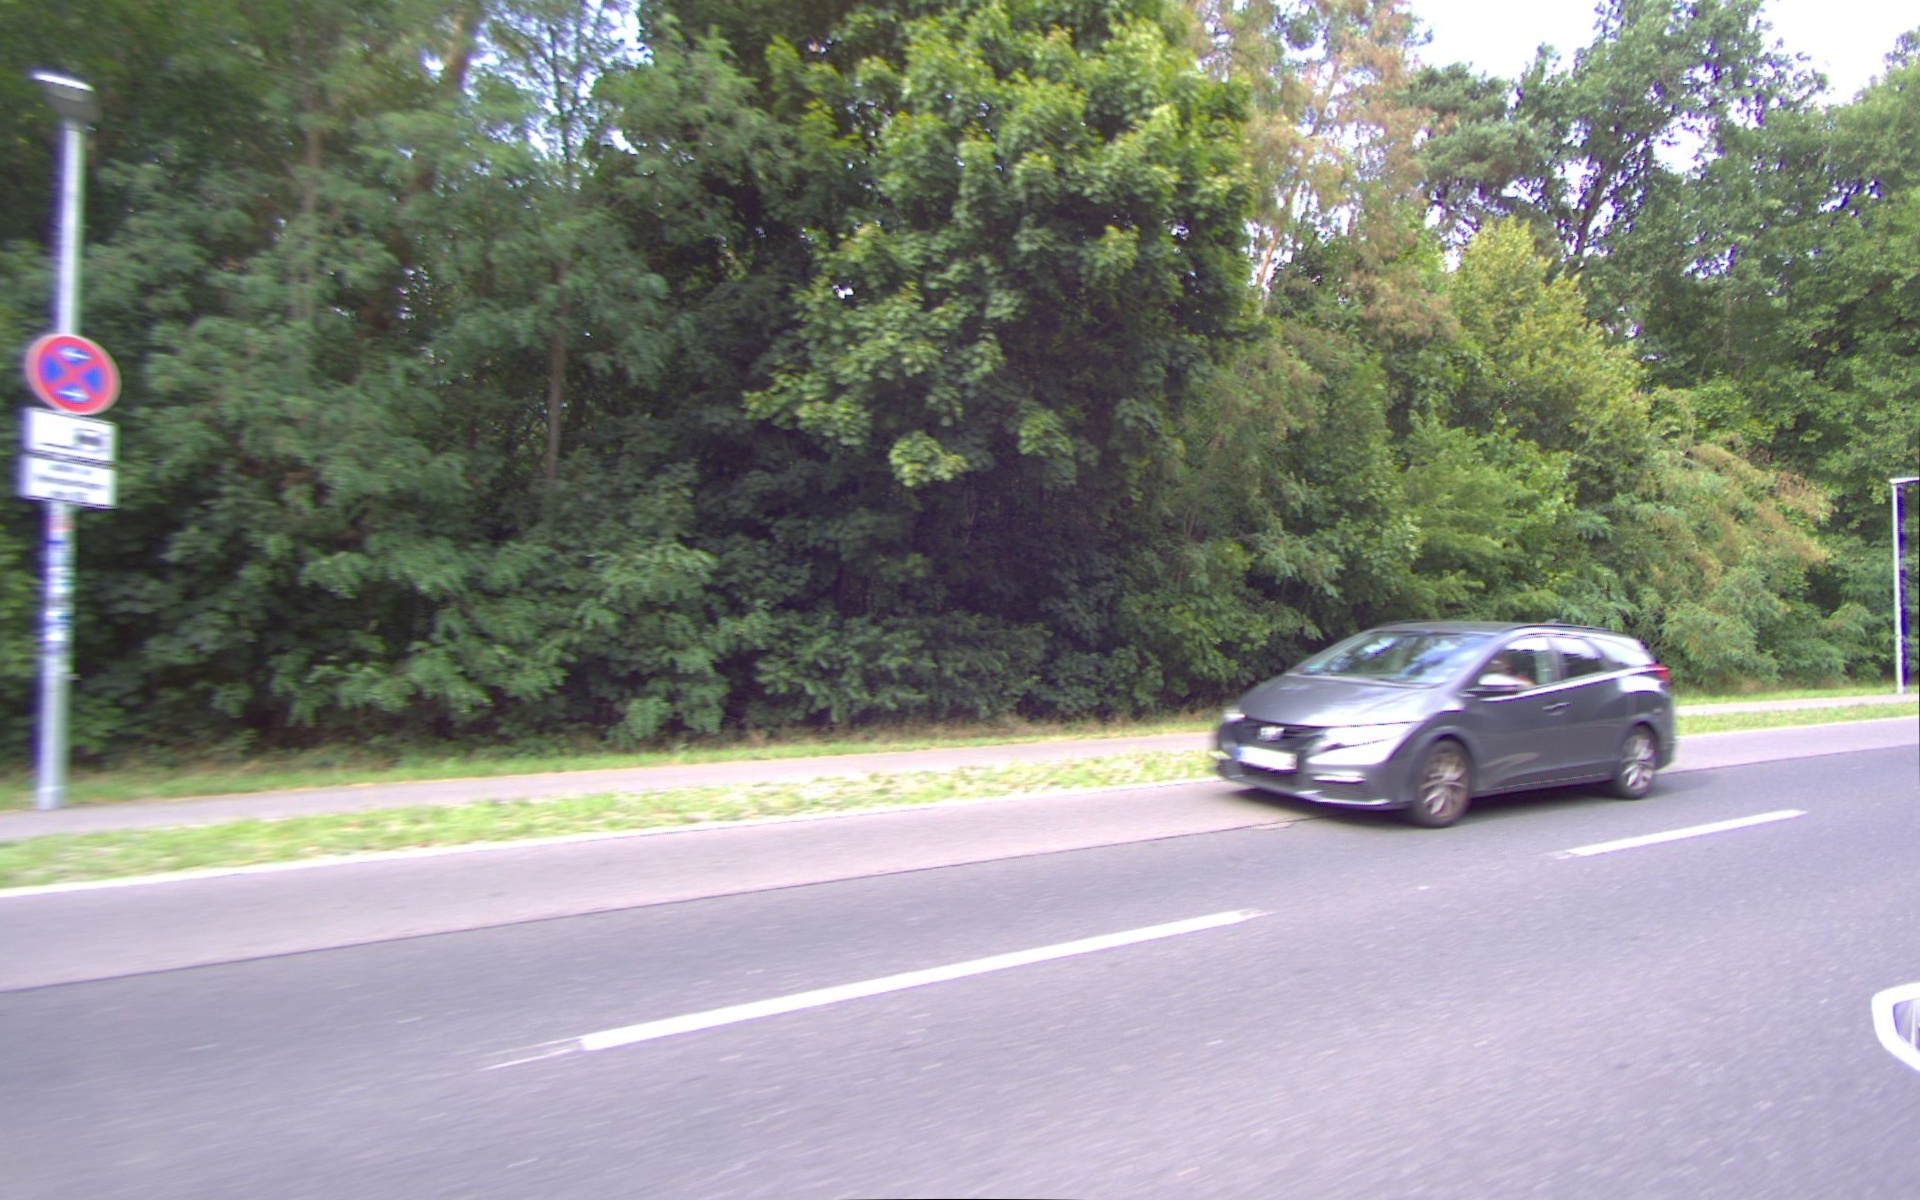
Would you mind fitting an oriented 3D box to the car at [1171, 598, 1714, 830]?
[{"bbox_3d":[4.132,0.844,8.445,4.484,1.503,1.888,3,-2,-29],"label":"car"}]
